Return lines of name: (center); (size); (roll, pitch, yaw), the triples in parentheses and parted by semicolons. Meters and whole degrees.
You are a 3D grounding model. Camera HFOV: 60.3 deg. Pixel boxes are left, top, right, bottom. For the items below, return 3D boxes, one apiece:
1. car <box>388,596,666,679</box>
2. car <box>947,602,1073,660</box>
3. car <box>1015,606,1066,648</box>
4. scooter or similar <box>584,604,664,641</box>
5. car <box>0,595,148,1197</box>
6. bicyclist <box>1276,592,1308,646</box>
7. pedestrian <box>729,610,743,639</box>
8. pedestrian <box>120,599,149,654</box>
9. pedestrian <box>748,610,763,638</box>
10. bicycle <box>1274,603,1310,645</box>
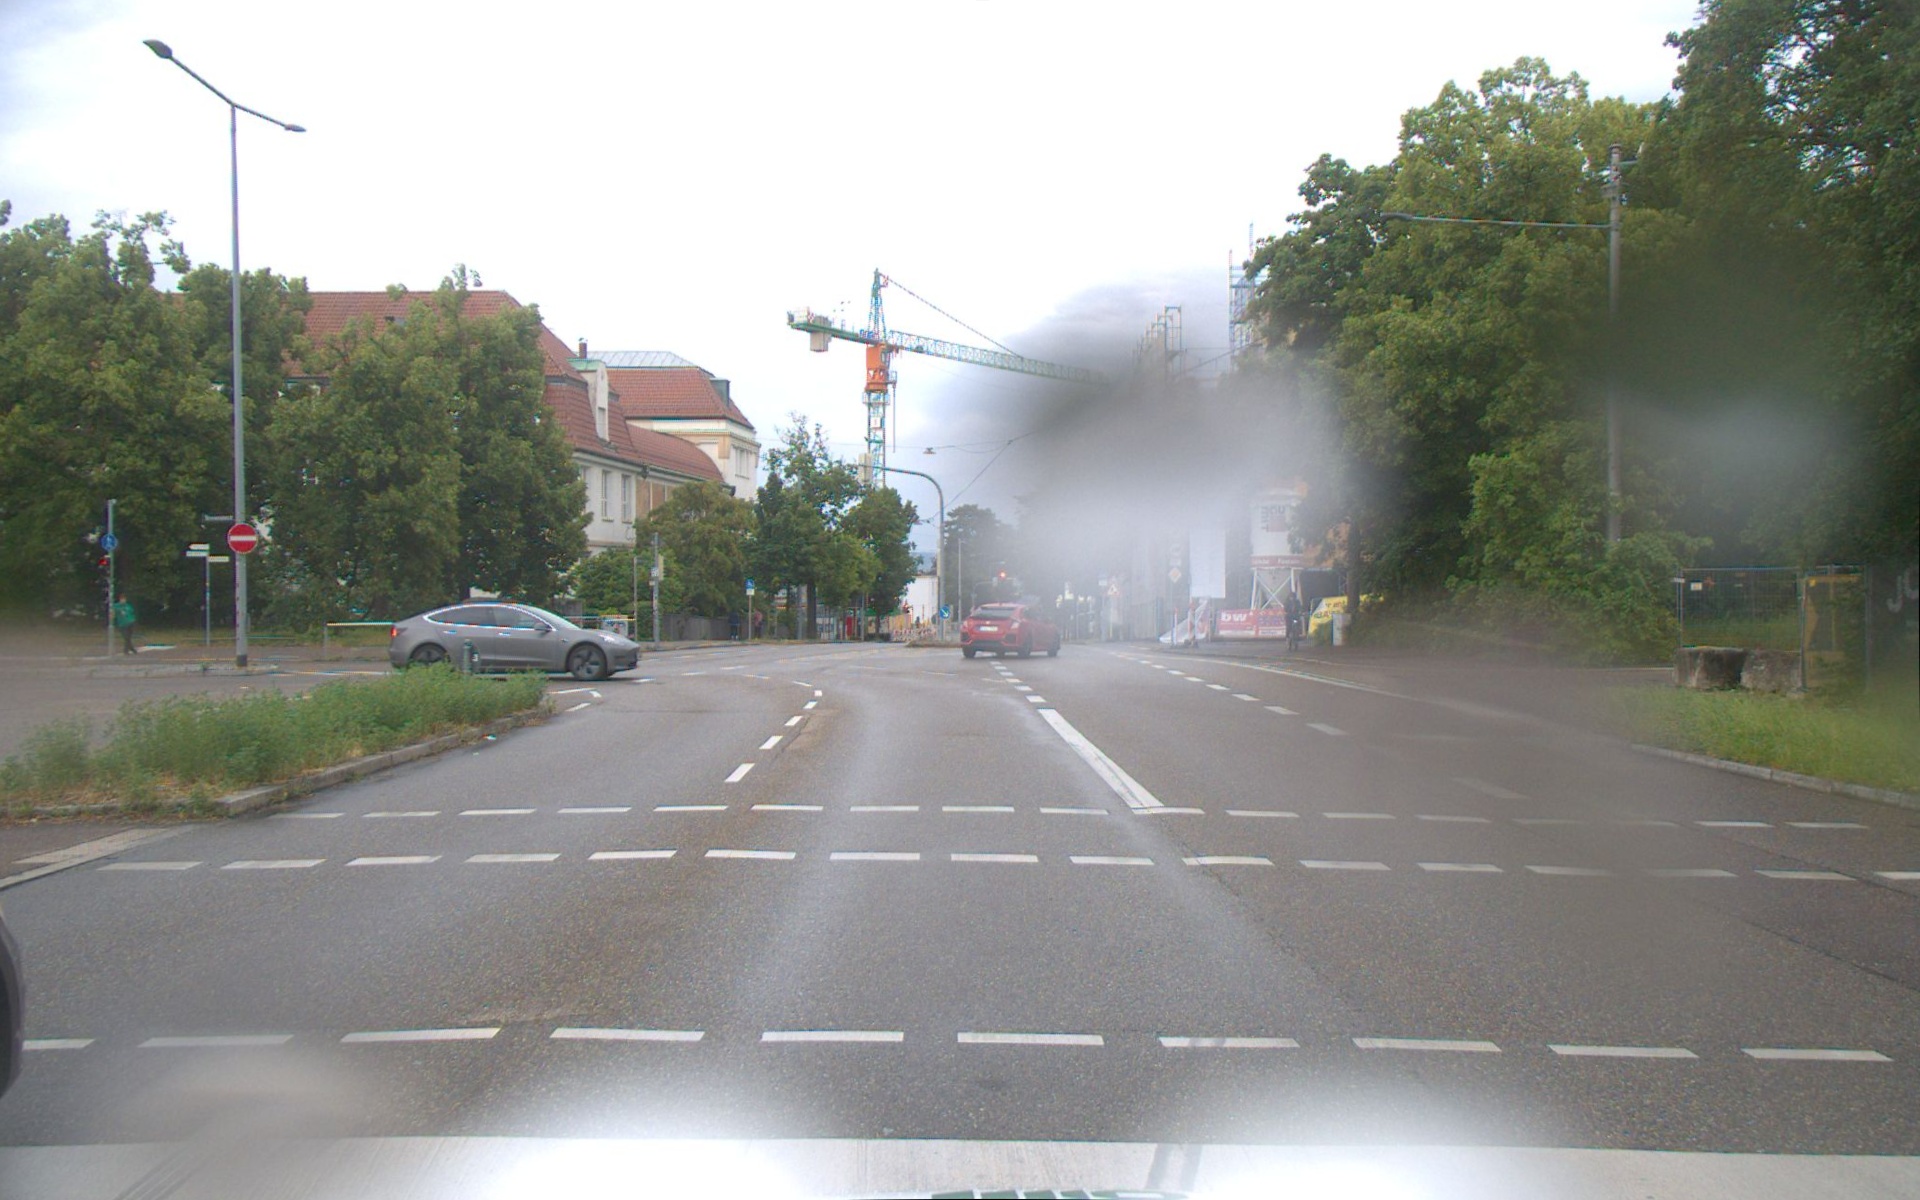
car: (-7.963, 0.680, 30.780); (4.675, 1.450, 1.998); (1, 0, -4)
car: (1.419, 0.804, 44.624); (1.953, 1.450, 4.519); (0, 0, 22)
car: (3.562, 1.230, 73.896); (1.953, 1.736, 3.998); (2, -2, -2)
scooter or similar: (-13.565, 0.909, 66.883); (3.026, 1.465, 0.948); (-1, 0, -3)
car: (-3.228, 0.748, 2.624); (1.768, 1.454, 4.197); (-2, 0, 0)
bicyclist: (9.916, 0.580, 49.423); (0.705, 1.591, 1.142); (2, -2, 0)
pedestrian: (-11.392, 1.240, 84.063); (0.575, 1.454, 0.467); (2, -2, -1)
pedestrian: (-23.240, 0.733, 46.577); (0.608, 1.516, 0.768); (0, 0, -17)
pedestrian: (-10.527, 1.252, 85.153); (0.624, 1.410, 0.606); (2, -2, -2)
bicycle: (9.908, 0.740, 49.405); (0.705, 1.214, 1.755); (2, -2, 0)
